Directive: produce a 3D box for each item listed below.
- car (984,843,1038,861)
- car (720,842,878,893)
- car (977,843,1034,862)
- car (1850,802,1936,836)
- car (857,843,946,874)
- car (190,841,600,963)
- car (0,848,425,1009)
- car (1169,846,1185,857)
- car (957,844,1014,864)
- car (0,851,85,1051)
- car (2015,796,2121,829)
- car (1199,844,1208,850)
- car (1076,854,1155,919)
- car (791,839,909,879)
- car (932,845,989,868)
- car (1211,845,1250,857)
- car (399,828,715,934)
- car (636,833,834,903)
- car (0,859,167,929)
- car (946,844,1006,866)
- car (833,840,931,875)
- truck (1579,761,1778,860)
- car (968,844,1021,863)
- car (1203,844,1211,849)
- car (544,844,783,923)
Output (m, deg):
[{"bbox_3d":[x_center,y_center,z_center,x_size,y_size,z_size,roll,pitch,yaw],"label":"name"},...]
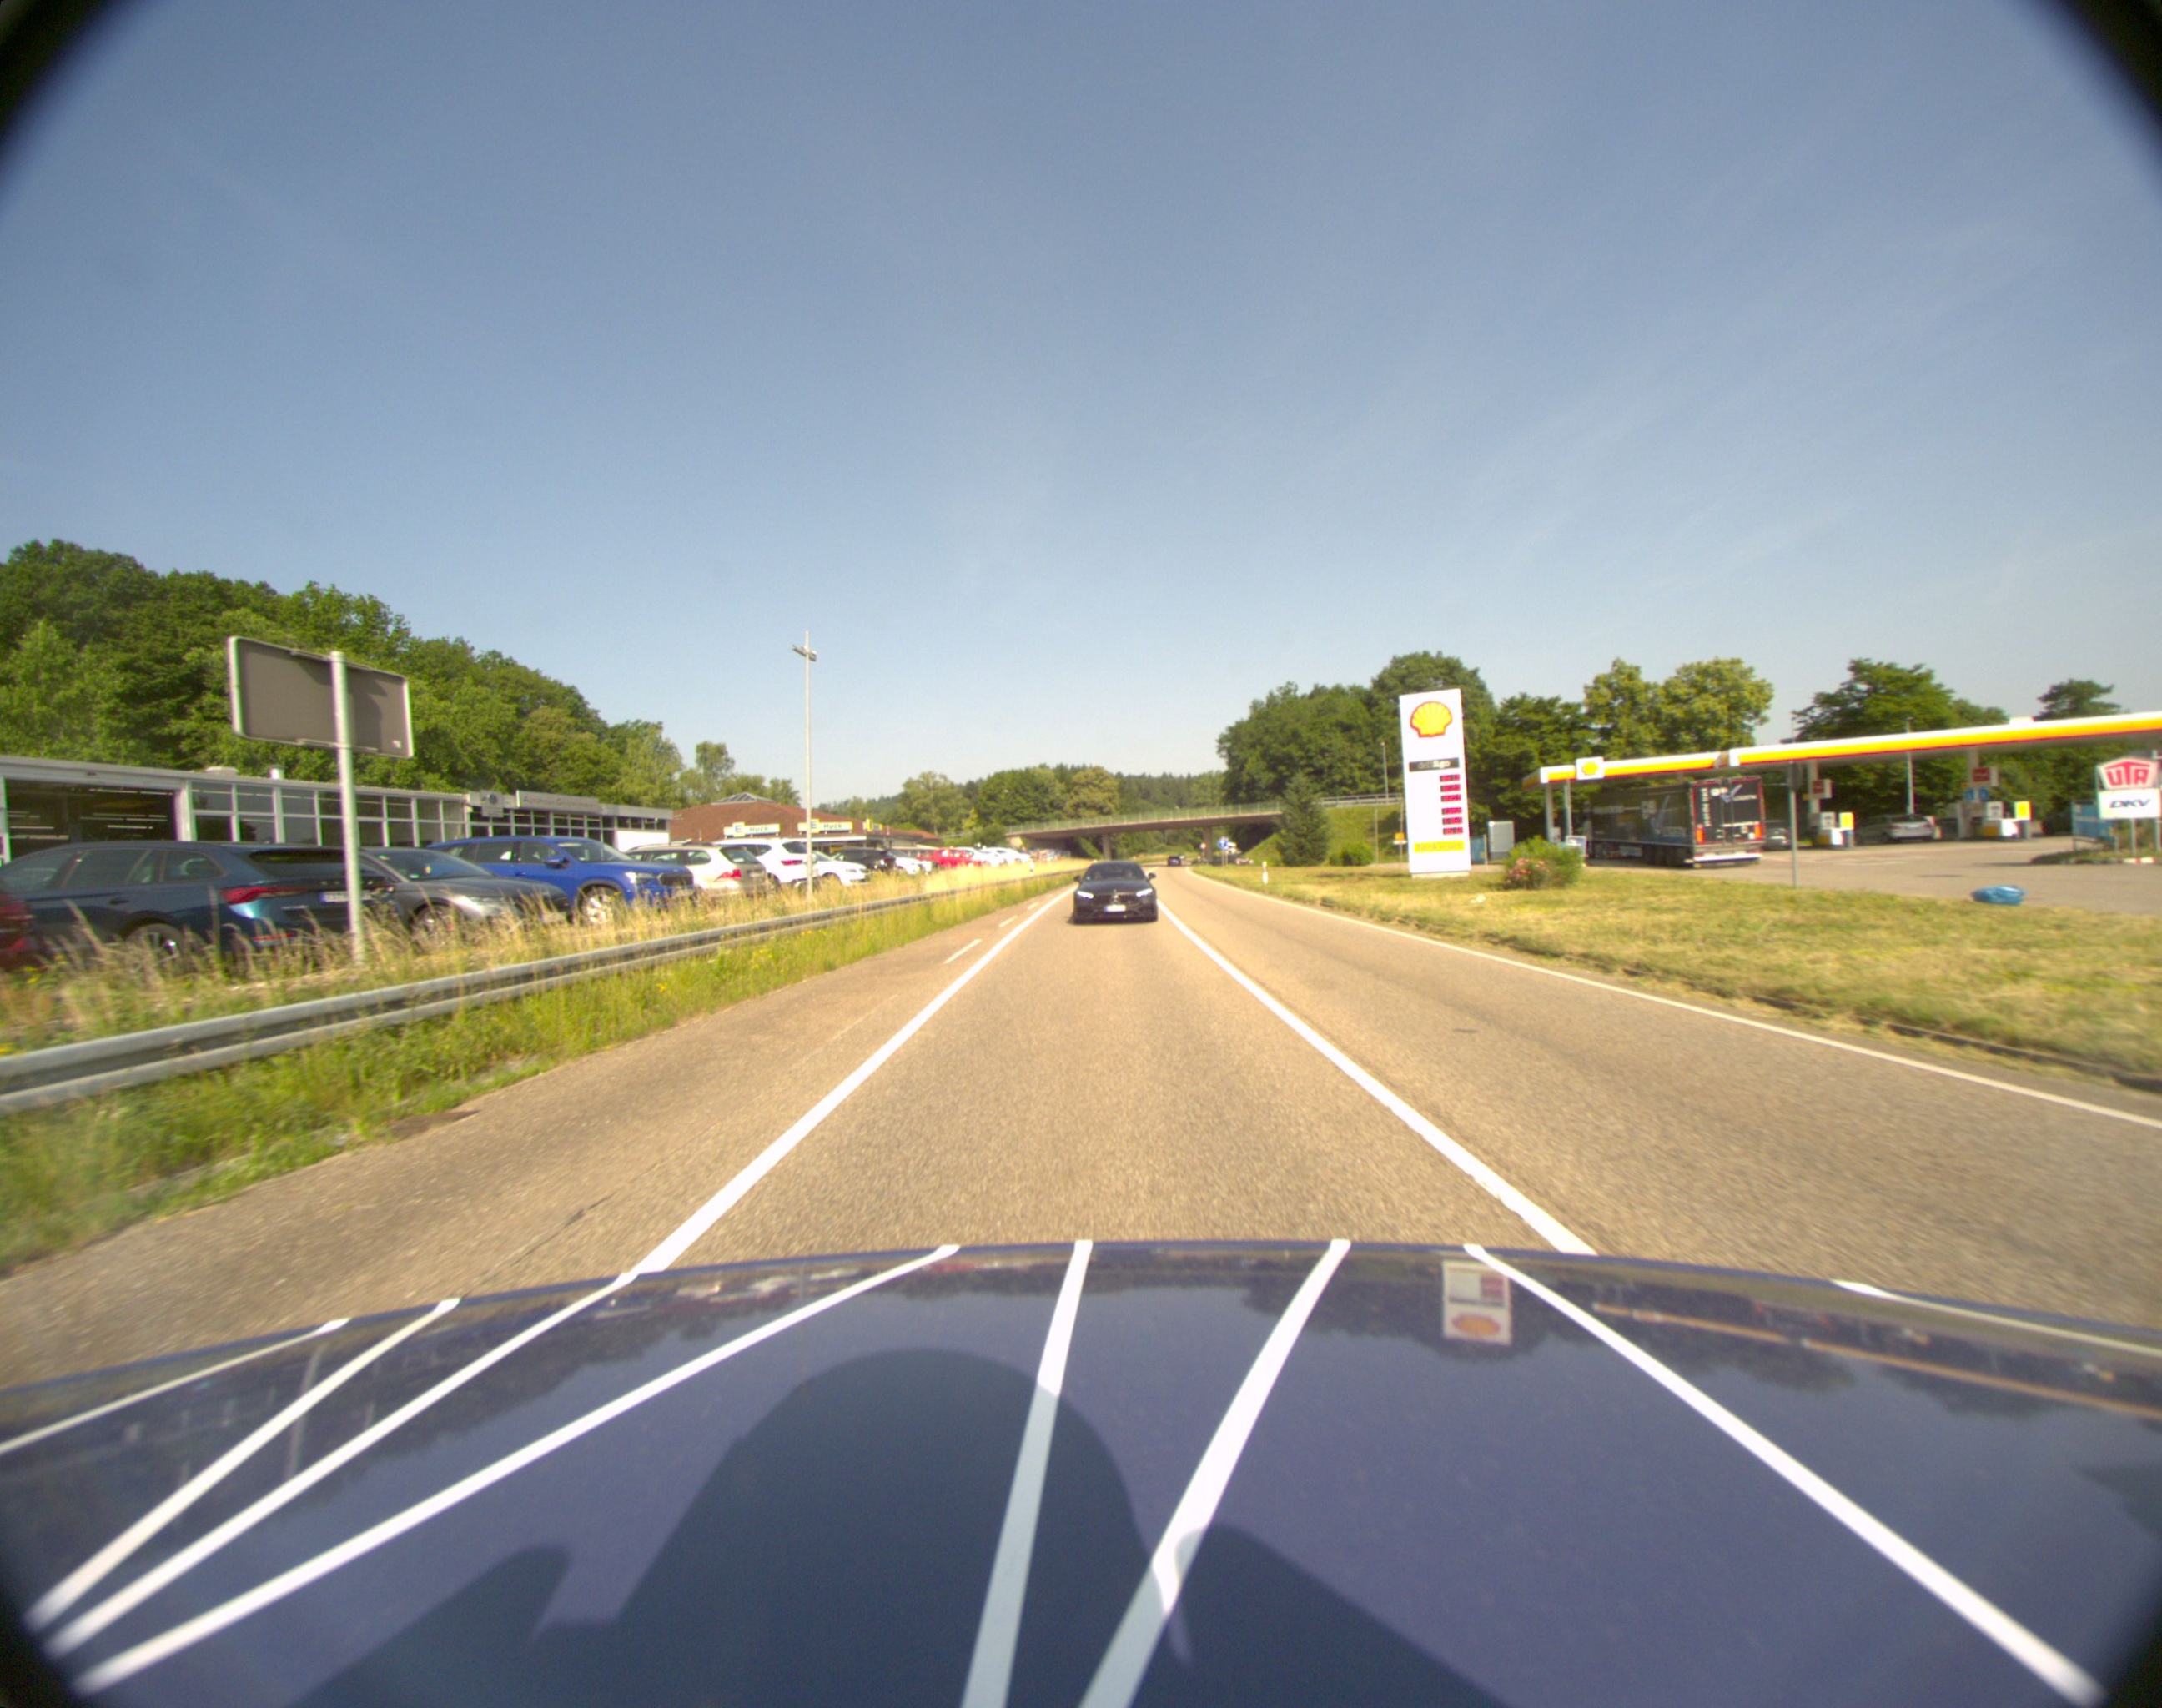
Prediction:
[{"bbox_3d":[-6.350,-0.176,68.990,4.570,1.456,1.877,-1,1,4],"label":"car"},{"bbox_3d":[-9.011,0.416,24.516,4.358,1.486,1.880,-1,1,5],"label":"car"},{"bbox_3d":[-6.452,-0.144,65.453,4.570,1.456,1.877,-1,1,4],"label":"car"},{"bbox_3d":[44.587,-1.892,41.836,1.905,1.633,4.006,-3,1,26],"label":"car"},{"bbox_3d":[-9.072,0.209,38.568,3.996,1.456,1.877,-1,1,4],"label":"car"},{"bbox_3d":[-9.431,0.603,10.723,3.996,1.444,1.951,-2,1,2],"label":"car"},{"bbox_3d":[-9.563,0.714,7.995,3.742,1.420,1.779,-2,1,2],"label":"car"},{"bbox_3d":[12.544,-0.298,98.793,1.680,1.348,3.926,-1,1,13],"label":"car"},{"bbox_3d":[-7.259,-0.003,58.219,3.996,1.456,1.877,-1,1,4],"label":"car"},{"bbox_3d":[-9.467,0.753,4.886,3.739,1.398,1.823,-2,1,2],"label":"car"},{"bbox_3d":[50.110,-2.098,38.688,1.994,1.451,4.007,-3,1,32],"label":"car"},{"bbox_3d":[26.249,-1.451,162.848,1.680,1.348,3.924,-1,1,7],"label":"car"},{"bbox_3d":[0.873,0.714,18.781,1.715,1.382,4.148,-1,1,3],"label":"car"},{"bbox_3d":[-9.692,0.186,32.110,4.294,1.543,2.032,-1,1,0],"label":"car"},{"bbox_3d":[-8.328,0.162,52.761,3.545,1.456,1.805,-1,1,4],"label":"car"},{"bbox_3d":[15.219,-0.350,77.577,1.812,1.166,4.091,-1,1,-27],"label":"car"},{"bbox_3d":[-9.287,0.445,13.727,4.365,1.630,1.951,-2,1,4],"label":"car"},{"bbox_3d":[-8.564,0.322,19.029,4.054,1.608,1.880,-1,1,5],"label":"car"},{"bbox_3d":[-25.127,0.956,18.186,4.320,1.516,1.790,-1,1,1],"label":"car"},{"bbox_3d":[-7.595,0.061,55.249,3.996,1.456,1.877,-1,1,4],"label":"car"},{"bbox_3d":[-9.243,0.149,35.428,3.996,1.543,1.806,-1,1,4],"label":"car"},{"bbox_3d":[30.890,-2.053,40.647,3.056,4.111,16.792,-2,1,19],"label":"truck"},{"bbox_3d":[-7.002,-0.047,61.628,3.996,1.456,1.877,-1,1,4],"label":"car"},{"bbox_3d":[30.977,-1.826,186.429,1.680,1.348,3.924,-1,1,7],"label":"car"},{"bbox_3d":[-8.687,0.596,16.031,4.048,1.499,1.806,-1,1,5],"label":"car"}]
